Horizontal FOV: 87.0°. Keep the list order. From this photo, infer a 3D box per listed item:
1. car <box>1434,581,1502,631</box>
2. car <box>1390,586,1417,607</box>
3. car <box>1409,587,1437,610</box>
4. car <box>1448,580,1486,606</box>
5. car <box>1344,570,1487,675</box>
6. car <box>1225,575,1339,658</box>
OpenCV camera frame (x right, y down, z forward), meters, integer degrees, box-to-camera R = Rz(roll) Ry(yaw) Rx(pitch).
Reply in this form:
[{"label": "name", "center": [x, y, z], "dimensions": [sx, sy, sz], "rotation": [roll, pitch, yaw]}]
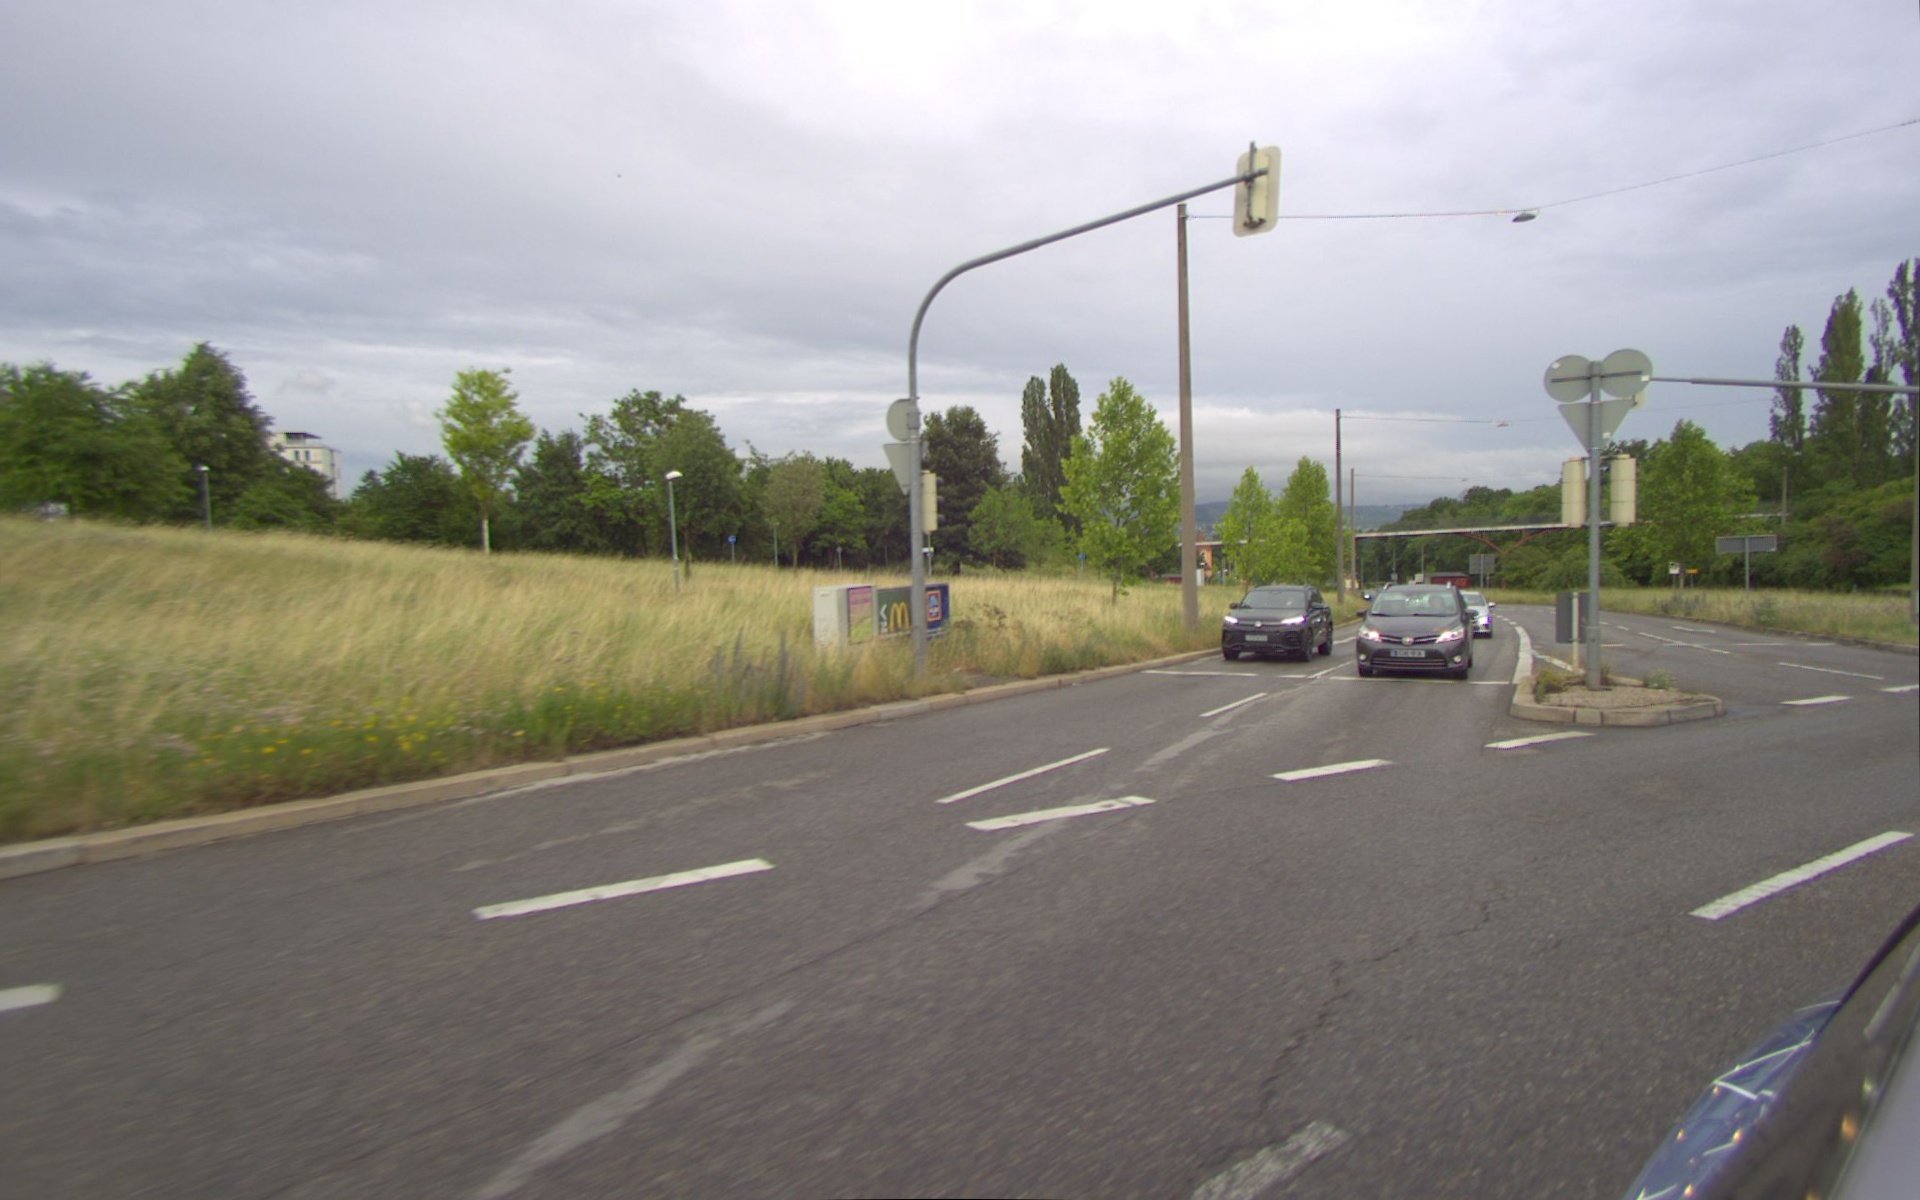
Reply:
[{"label": "car", "center": [16.013, 0.142, 31.824], "dimensions": [1.733, 1.445, 3.959], "rotation": [0, 1, 29]}, {"label": "car", "center": [44.908, -0.324, 102.542], "dimensions": [1.973, 2.039, 3.979], "rotation": [0, 1, 17]}, {"label": "car", "center": [40.441, -0.152, 88.449], "dimensions": [1.815, 1.972, 3.975], "rotation": [-1, 1, 19]}, {"label": "car", "center": [30.907, -0.432, 61.793], "dimensions": [1.851, 1.504, 3.969], "rotation": [0, 1, 23]}, {"label": "car", "center": [8.472, 0.313, 18.586], "dimensions": [1.983, 1.663, 4.581], "rotation": [-1, 1, 30]}, {"label": "car", "center": [7.360, 0.298, 22.903], "dimensions": [1.706, 1.662, 3.848], "rotation": [1, 2, 30]}]
